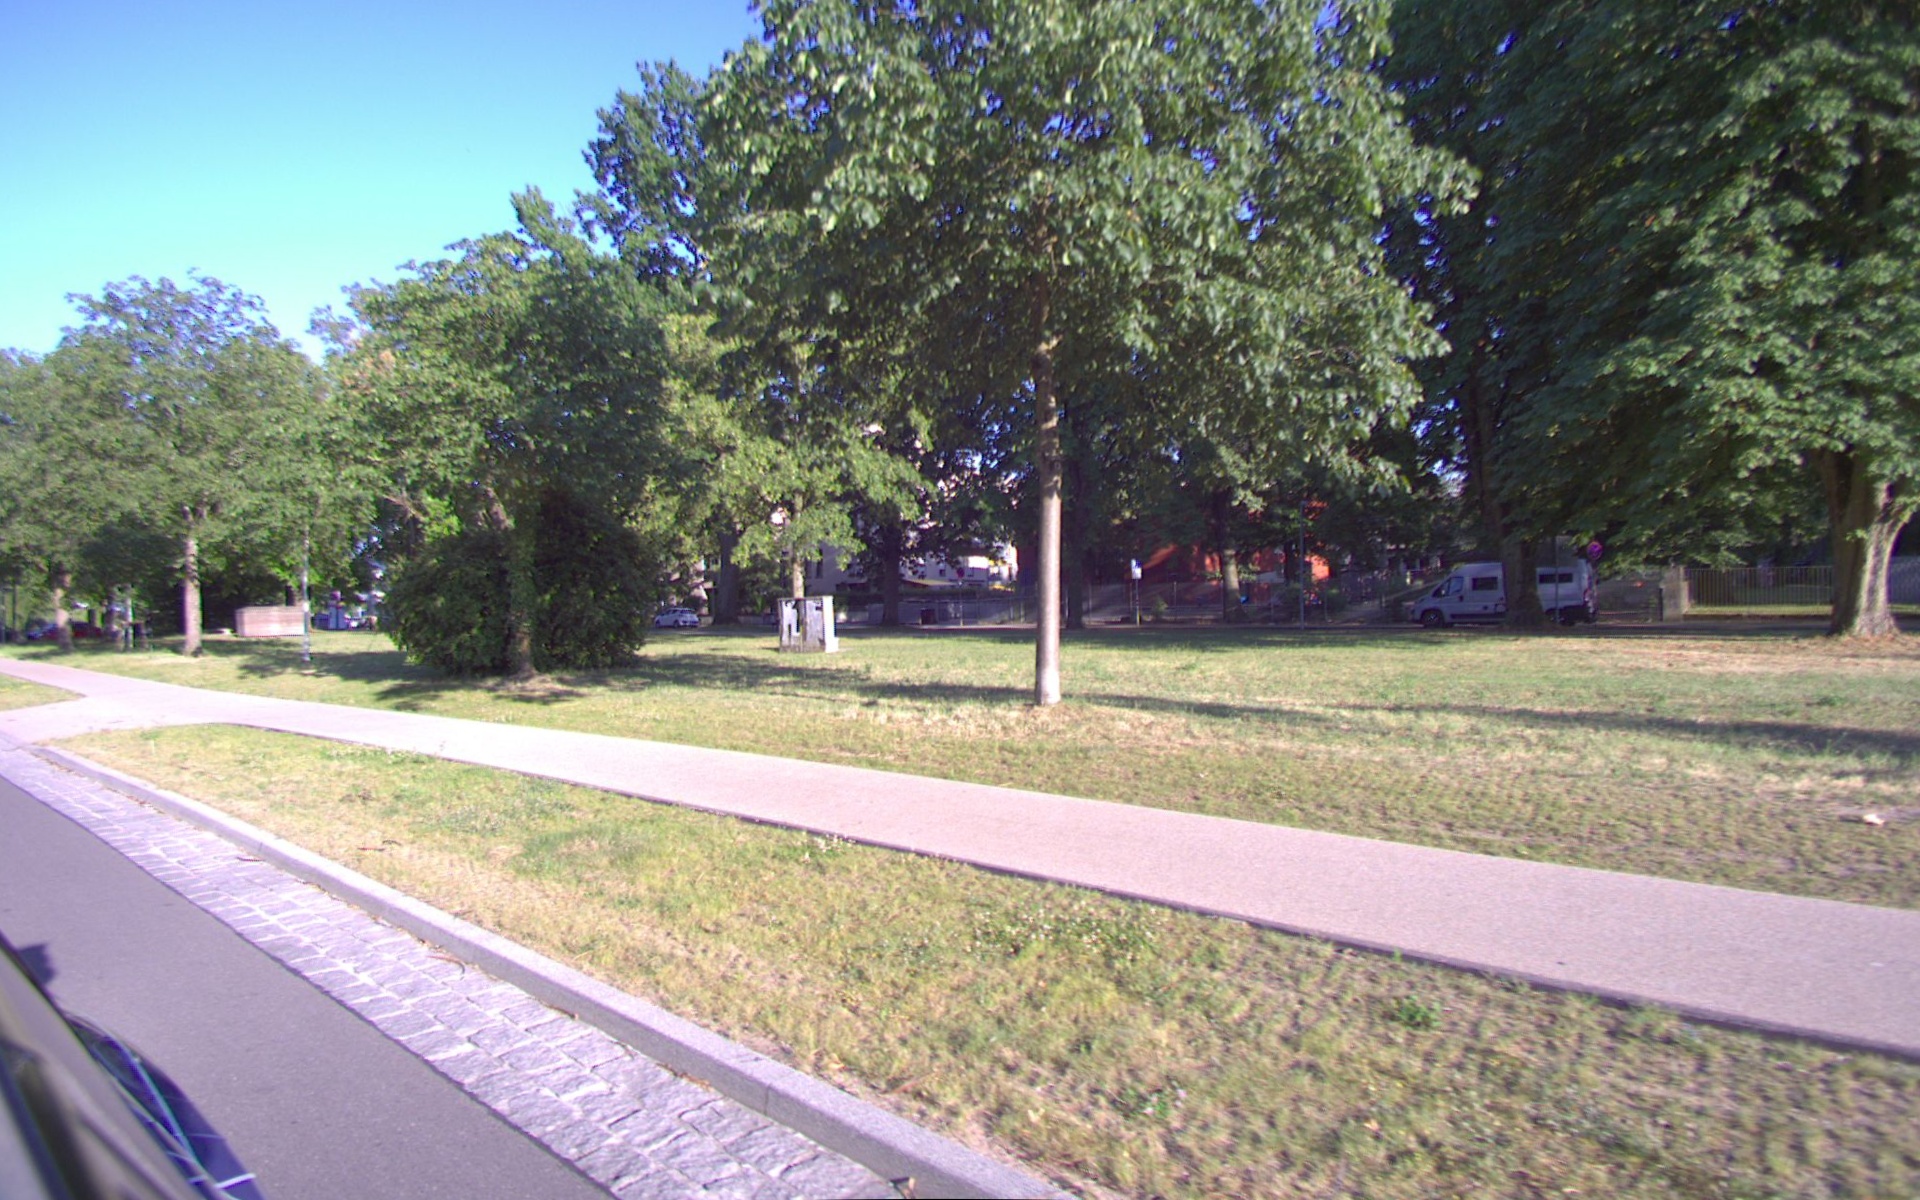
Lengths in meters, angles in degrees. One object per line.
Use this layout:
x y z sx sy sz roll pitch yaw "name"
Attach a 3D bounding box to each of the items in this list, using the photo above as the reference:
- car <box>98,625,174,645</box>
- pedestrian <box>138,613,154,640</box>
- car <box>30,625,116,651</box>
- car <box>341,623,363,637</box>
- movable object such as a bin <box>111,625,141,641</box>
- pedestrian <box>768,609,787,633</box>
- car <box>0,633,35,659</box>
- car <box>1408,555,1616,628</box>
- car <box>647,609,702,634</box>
-62.827 2.628 77.259 1.825 1.411 4.251 -1 0 18 "car"
-50.875 1.657 63.242 0.672 1.708 0.655 -2 0 42 "pedestrian"
-59.680 2.539 68.179 1.874 1.586 3.980 0 1 16 "car"
-77.616 3.796 129.118 1.861 1.586 4.608 0 1 -39 "car"
-51.500 2.033 62.508 0.950 0.997 1.315 -1 -1 43 "movable object such as a bin"
-7.646 0.887 42.477 0.541 0.994 0.611 0 -1 -39 "pedestrian"
-61.134 2.934 63.702 1.874 1.586 3.980 0 1 16 "car"
20.183 -0.252 37.177 6.312 2.482 2.694 -1 -1 39 "car"
-20.228 1.545 71.712 3.736 1.630 1.973 -2 0 41 "car"
